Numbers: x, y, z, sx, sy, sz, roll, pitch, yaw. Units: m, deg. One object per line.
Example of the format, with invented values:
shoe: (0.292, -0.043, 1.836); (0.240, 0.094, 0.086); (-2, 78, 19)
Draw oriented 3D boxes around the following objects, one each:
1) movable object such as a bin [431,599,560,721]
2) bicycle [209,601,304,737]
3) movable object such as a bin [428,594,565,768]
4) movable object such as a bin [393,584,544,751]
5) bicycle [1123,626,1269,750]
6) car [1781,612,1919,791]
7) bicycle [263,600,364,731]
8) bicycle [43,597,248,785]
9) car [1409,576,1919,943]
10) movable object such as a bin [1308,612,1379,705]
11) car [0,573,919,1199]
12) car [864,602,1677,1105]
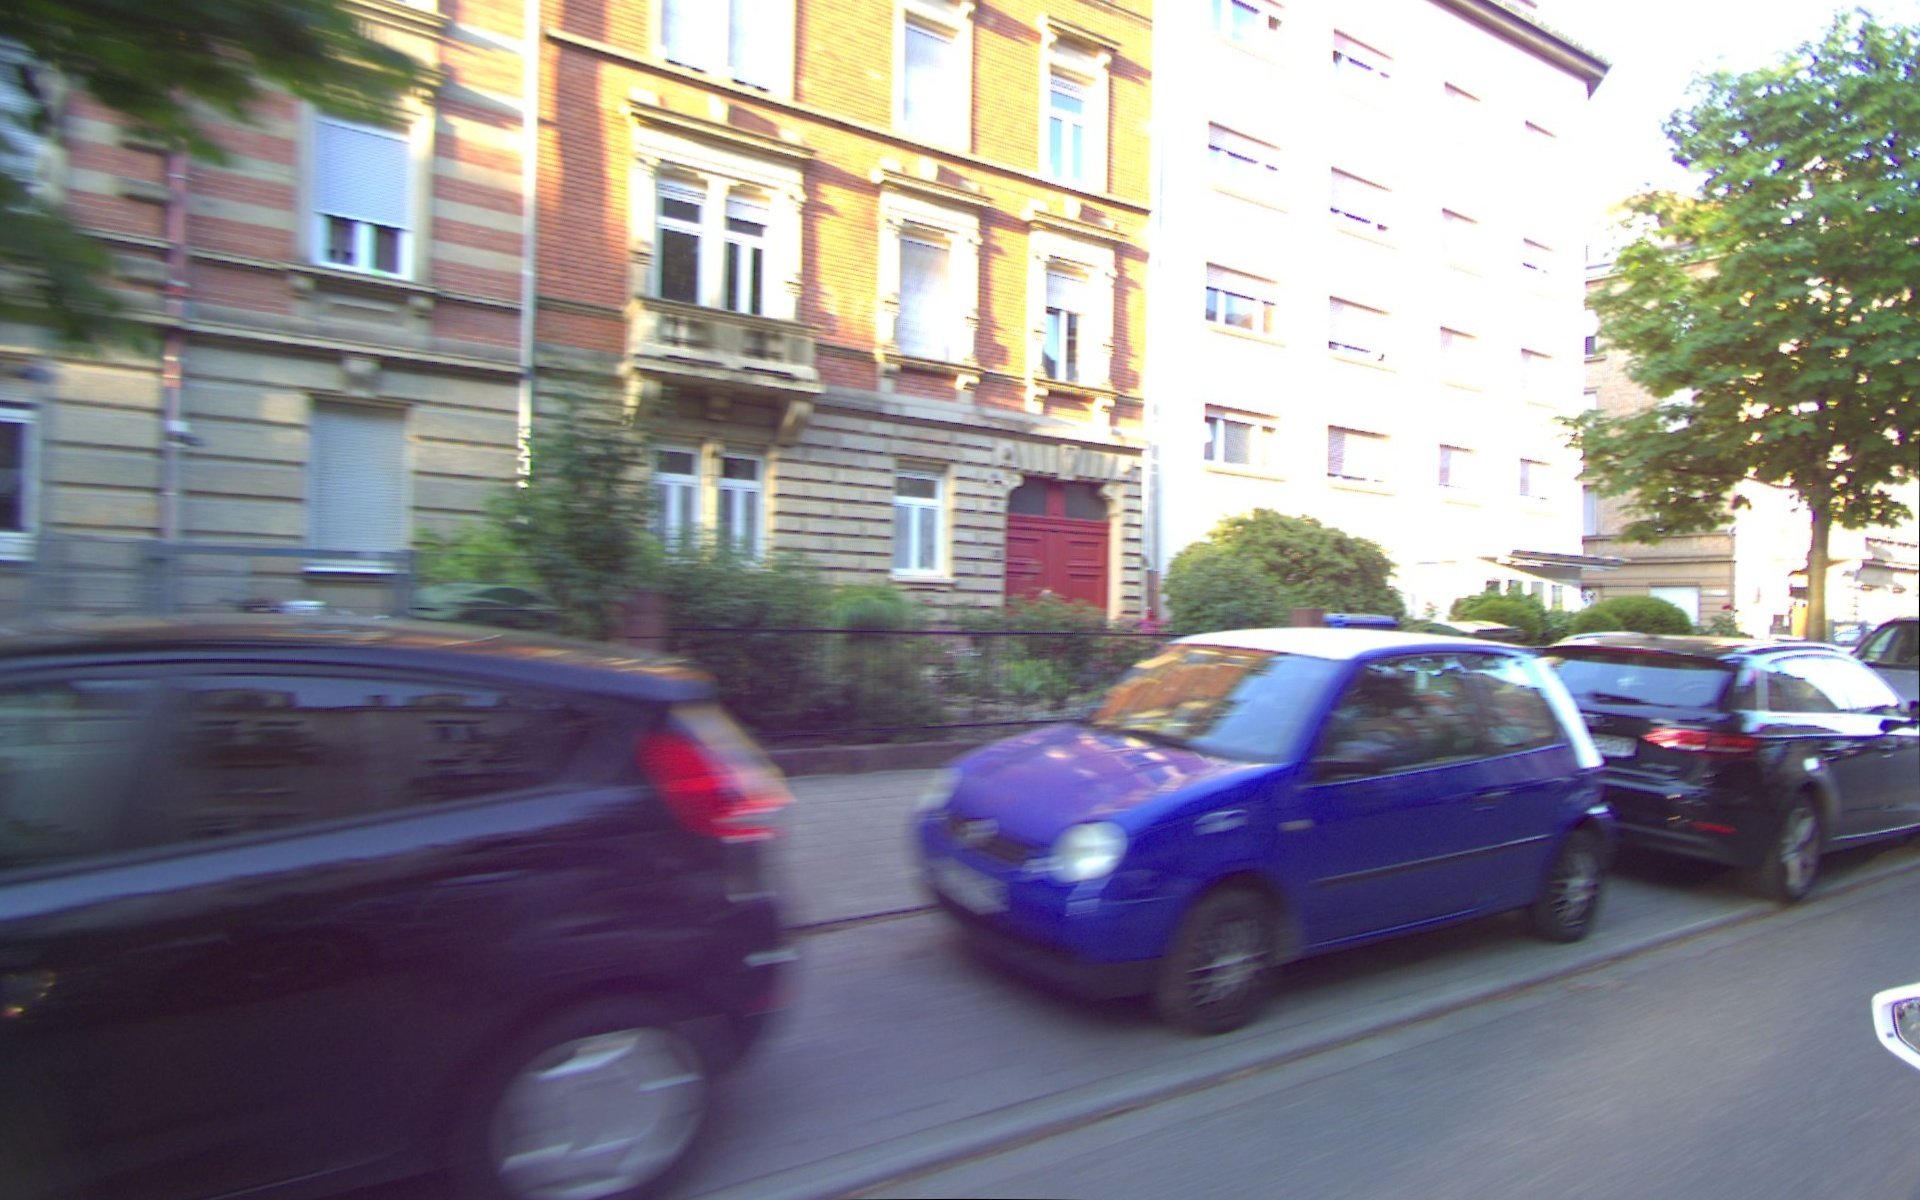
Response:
movable object such as a bin: (-5.125, 0.615, 11.067); (0.998, 1.225, 1.086); (0, 2, -44)
bicycle: (-7.604, 0.666, 10.804); (0.638, 1.208, 2.507); (0, 2, -40)
movable object such as a bin: (-3.903, 0.634, 8.491); (0.991, 1.339, 1.009); (0, 1, -25)
movable object such as a bin: (-4.644, 0.584, 9.483); (0.998, 1.433, 1.086); (0, 2, -44)
bicycle: (2.443, 0.875, 10.339); (1.599, 1.201, 0.432); (1, -1, -30)
car: (10.501, 0.969, 10.370); (4.466, 1.617, 1.707); (2, -1, -31)
bicycle: (-7.214, 0.657, 11.147); (0.638, 1.208, 2.507); (0, 2, -40)
bicycle: (-6.492, 0.628, 8.169); (0.634, 1.208, 2.522); (1, 2, -23)
car: (5.107, 0.829, 6.773); (4.166, 1.814, 1.707); (1, -1, -30)
movable object such as a bin: (6.009, 0.899, 15.761); (0.695, 1.381, 0.733); (1, 2, -24)
car: (-2.163, 0.752, 2.657); (3.737, 1.587, 1.707); (2, -1, -30)
car: (1.594, 0.839, 4.872); (3.743, 1.587, 1.707); (1, -1, -30)
